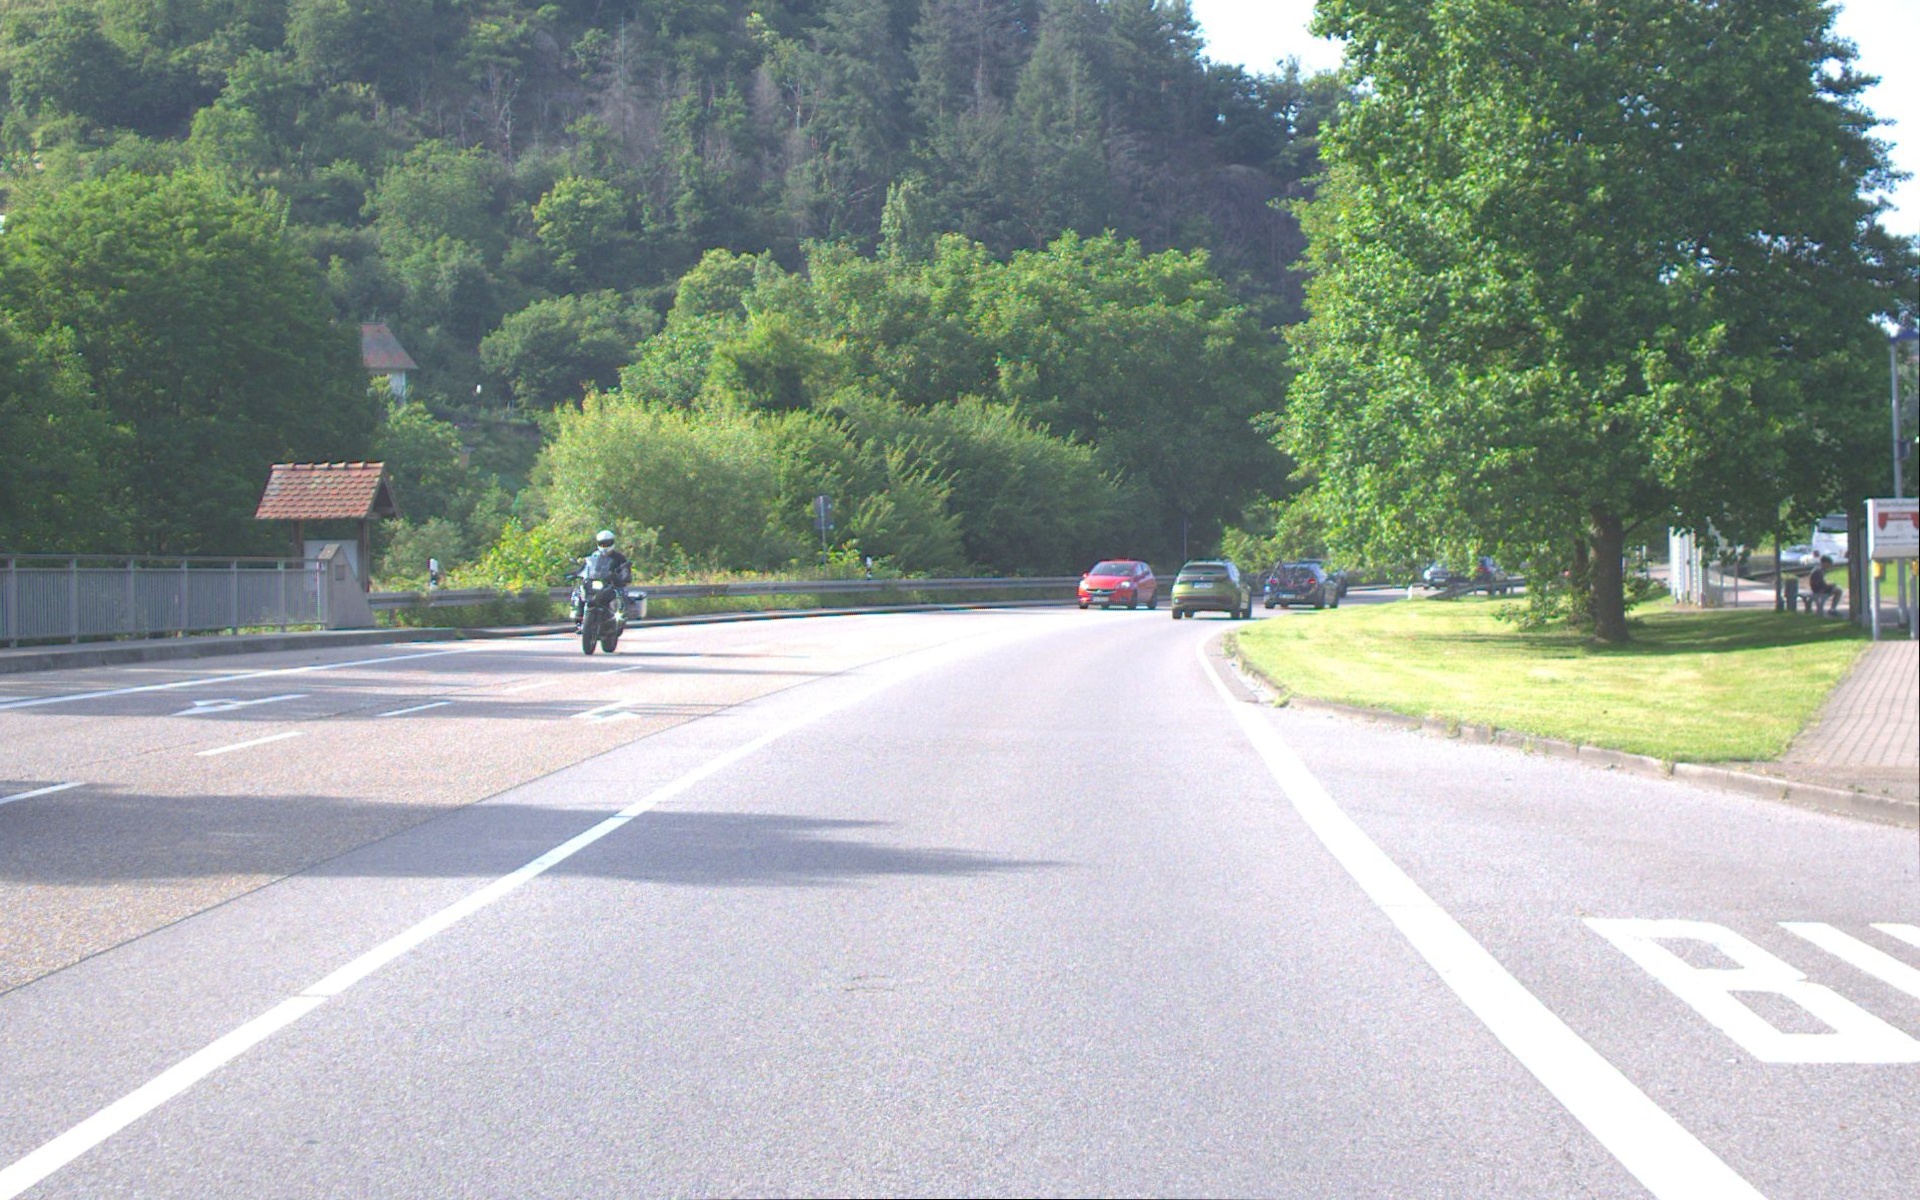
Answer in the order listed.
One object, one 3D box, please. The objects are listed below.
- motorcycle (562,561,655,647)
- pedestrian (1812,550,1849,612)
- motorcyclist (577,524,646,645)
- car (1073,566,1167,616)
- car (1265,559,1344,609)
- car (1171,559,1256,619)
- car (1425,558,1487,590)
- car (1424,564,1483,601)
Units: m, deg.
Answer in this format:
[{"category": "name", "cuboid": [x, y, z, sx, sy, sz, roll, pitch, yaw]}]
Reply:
[{"category": "motorcycle", "cuboid": [-5.201, 0.040, 50.999, 0.972, 1.217, 2.572, 1, 1, 3]}, {"category": "pedestrian", "cuboid": [16.579, -0.368, 65.492, 0.636, 1.157, 0.726, -2, 0, 16]}, {"category": "motorcyclist", "cuboid": [-5.181, -0.239, 51.112, 0.845, 1.778, 1.171, 0, 1, 3]}, {"category": "car", "cuboid": [4.844, -0.297, 103.655, 1.677, 1.455, 4.198, 1, 1, 19]}, {"category": "car", "cuboid": [10.741, -0.522, 107.048, 1.841, 1.454, 3.710, -2, 0, 14]}, {"category": "car", "cuboid": [6.545, -0.290, 88.439, 1.729, 1.452, 3.409, -2, 0, 11]}, {"category": "car", "cuboid": [22.460, -1.185, 155.588, 1.696, 1.397, 4.197, 0, 1, 24]}, {"category": "car", "cuboid": [20.384, -0.723, 141.945, 1.808, 1.448, 3.644, -2, 0, 18]}]
